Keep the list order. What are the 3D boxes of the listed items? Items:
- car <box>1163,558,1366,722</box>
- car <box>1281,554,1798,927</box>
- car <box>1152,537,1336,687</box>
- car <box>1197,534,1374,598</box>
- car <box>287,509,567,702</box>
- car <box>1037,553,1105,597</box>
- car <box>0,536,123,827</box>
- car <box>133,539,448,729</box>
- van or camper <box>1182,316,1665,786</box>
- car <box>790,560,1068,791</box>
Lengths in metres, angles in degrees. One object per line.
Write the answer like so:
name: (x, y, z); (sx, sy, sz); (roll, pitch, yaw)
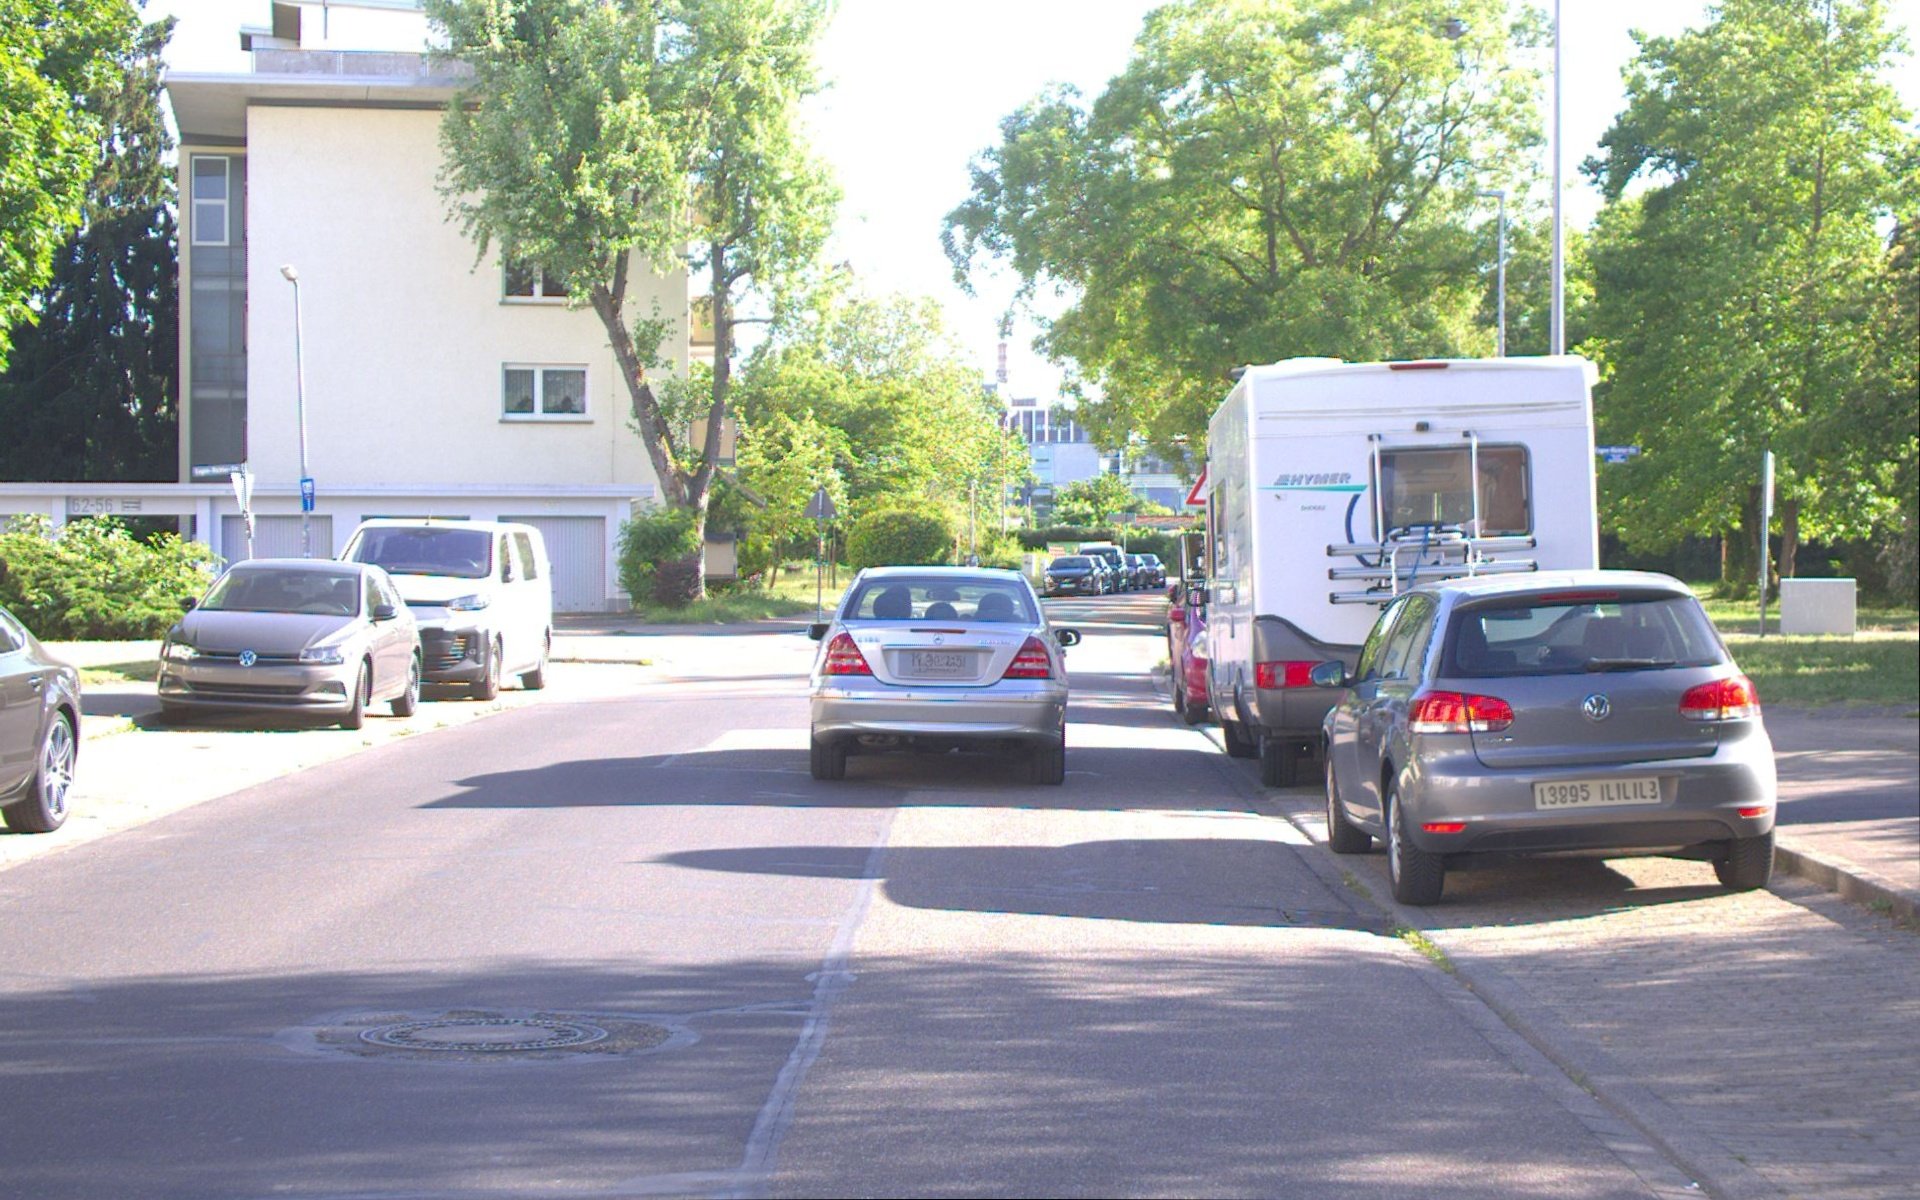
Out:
car: (2.879, 0.342, 33.185); (1.691, 1.469, 4.000); (0, 1, 1)
car: (2.737, 0.585, 17.222); (1.720, 1.519, 4.429); (-3, 1, -1)
car: (3.438, 0.109, 42.382); (1.775, 1.674, 4.645); (-2, 1, 0)
car: (9.173, -0.952, 96.641); (4.885, 1.718, 2.000); (-1, 1, 7)
car: (-5.664, 0.025, 37.218); (2.014, 1.879, 5.190); (2, 1, 2)
car: (3.967, -0.896, 122.264); (1.914, 1.485, 3.835); (-2, 0, 9)
car: (-5.994, 0.403, 17.565); (2.035, 1.487, 5.256); (3, 1, 1)
car: (-5.889, 0.262, 30.728); (1.833, 1.513, 4.221); (2, 1, 2)
van or camper: (3.039, -0.361, 24.317); (2.496, 2.835, 6.851); (0, 1, 0)
car: (-0.142, 0.470, 23.427); (1.733, 1.429, 3.438); (1, 0, 2)
